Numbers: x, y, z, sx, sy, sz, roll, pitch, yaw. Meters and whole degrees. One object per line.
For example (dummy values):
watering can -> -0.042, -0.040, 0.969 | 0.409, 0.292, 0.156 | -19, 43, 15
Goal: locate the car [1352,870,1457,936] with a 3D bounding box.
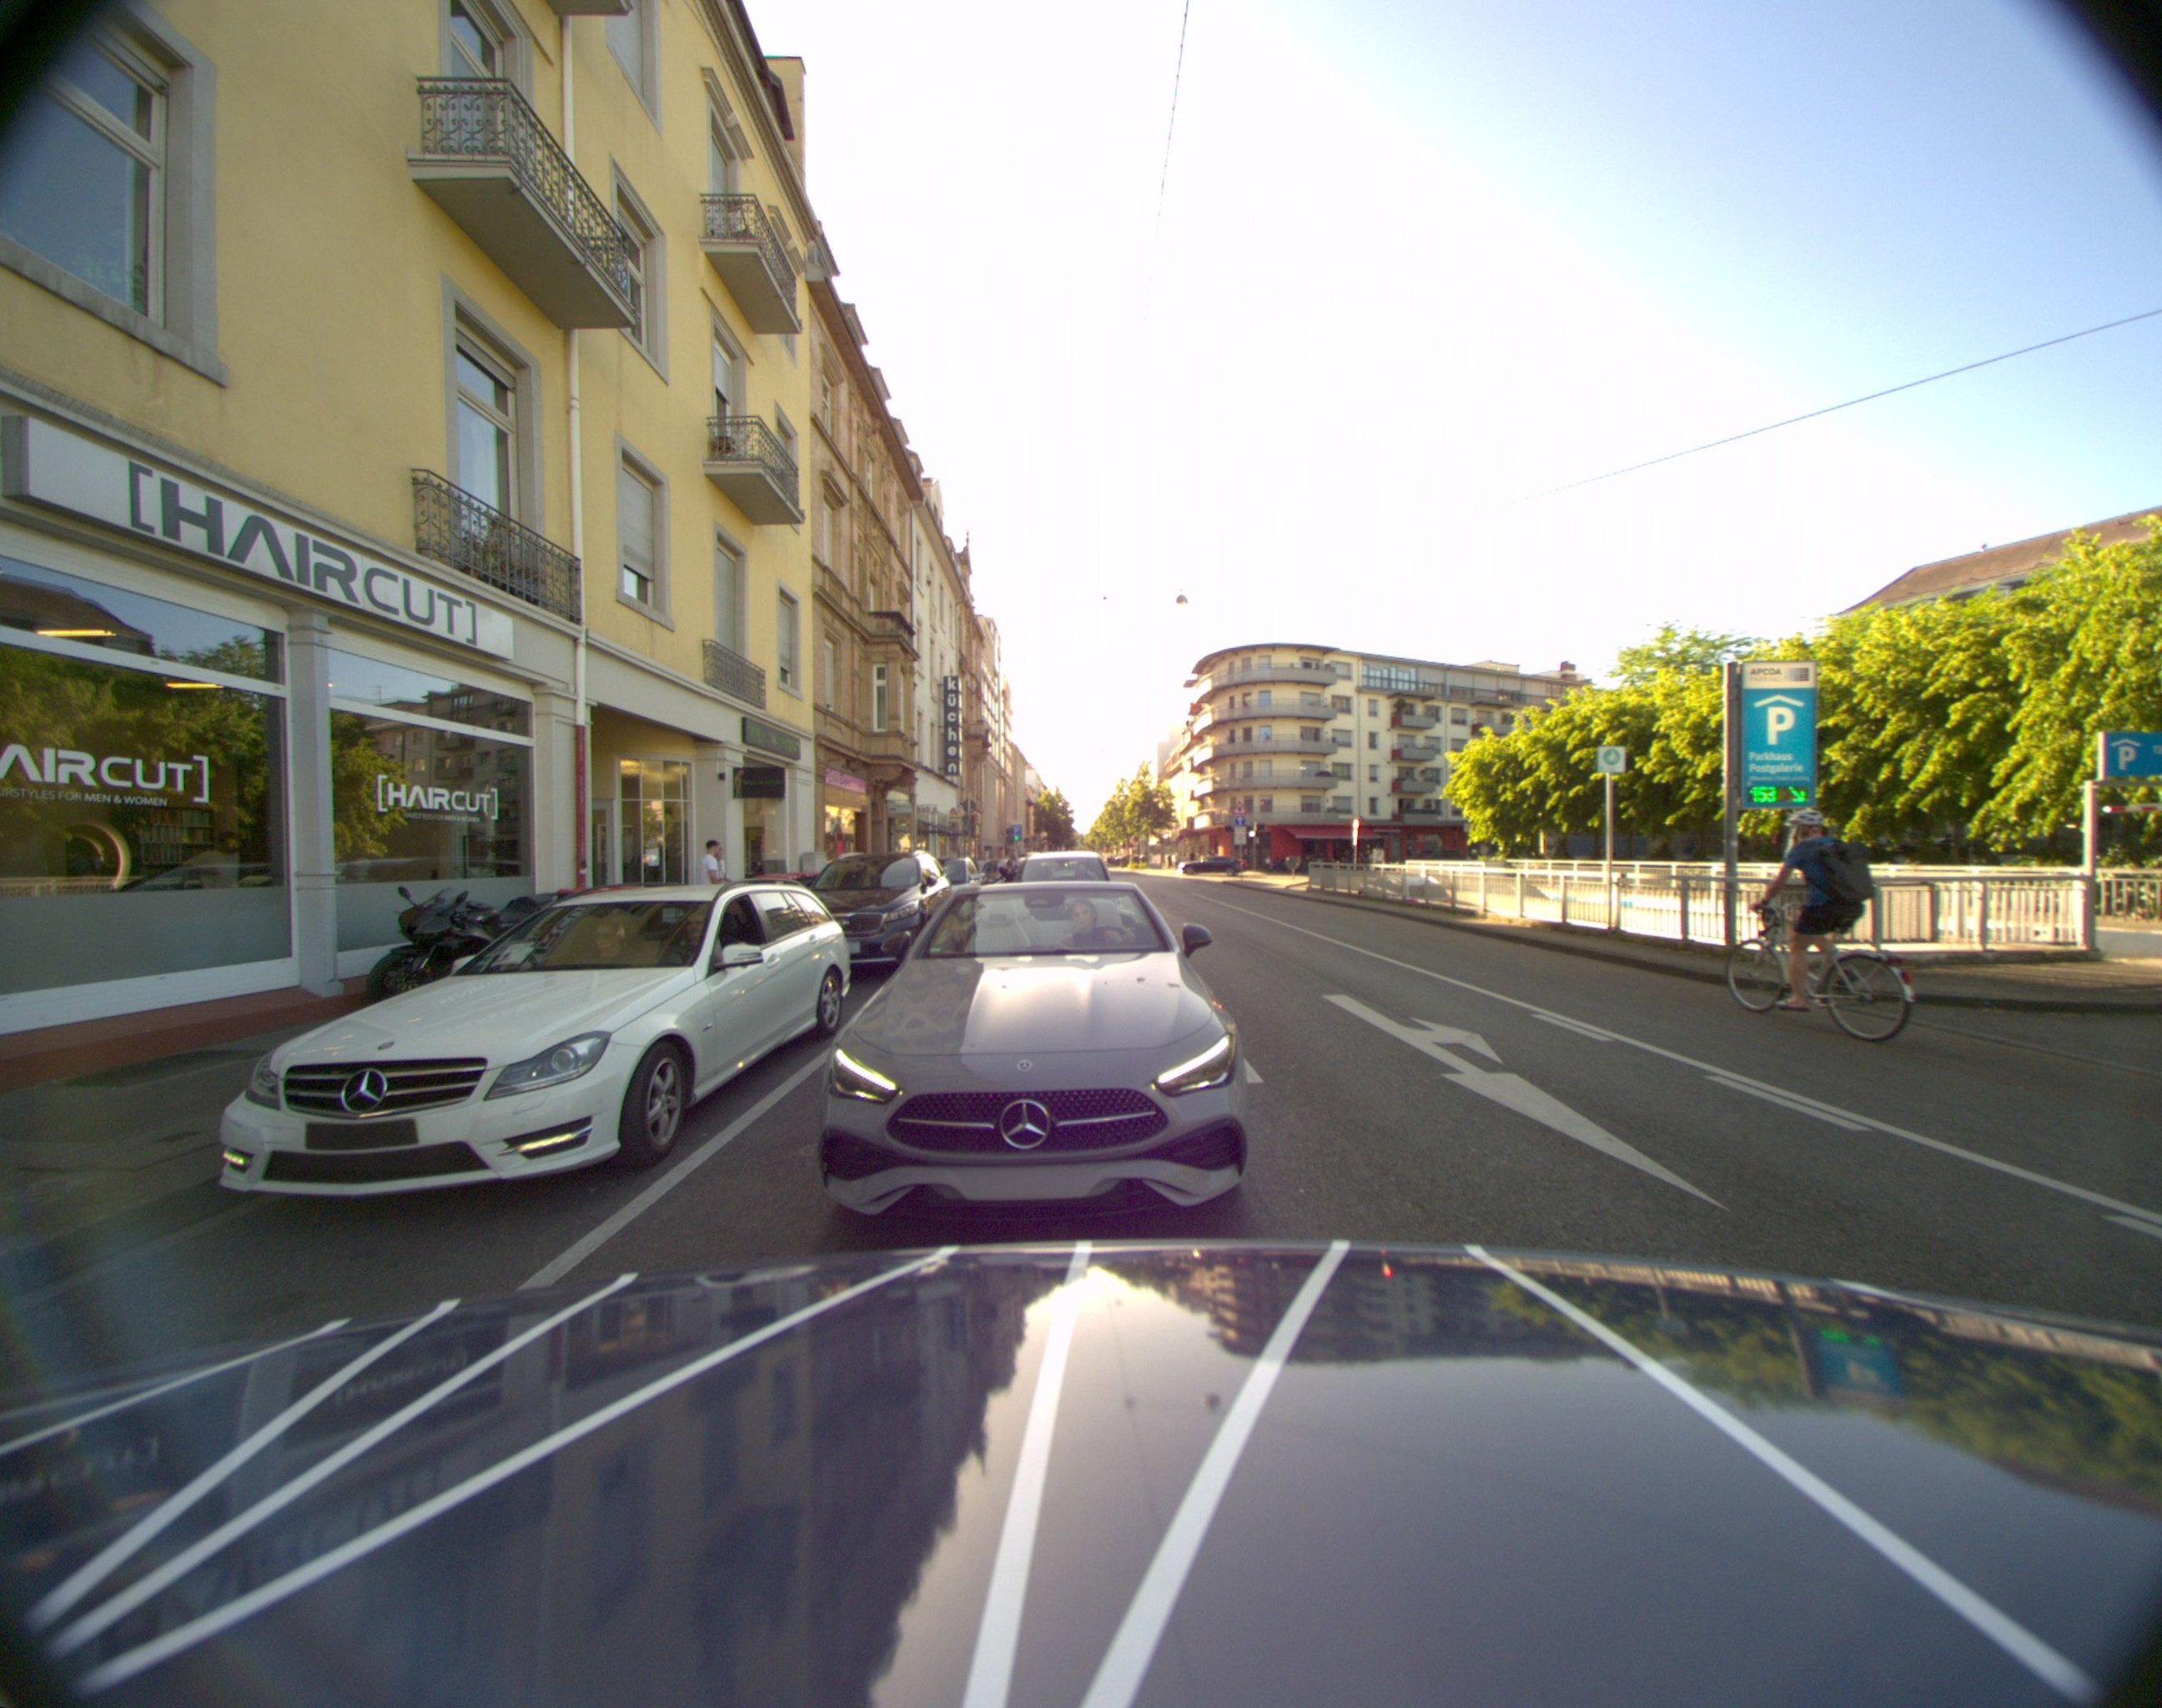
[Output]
car -> 10.322, 1.494, 24.560 | 1.638, 1.523, 3.904 | -2, 5, -2

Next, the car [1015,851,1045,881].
car -> -3.152, 0.716, 47.561 | 1.695, 1.670, 3.880 | -2, 1, -3

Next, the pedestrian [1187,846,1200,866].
pedestrian -> 10.529, 0.180, 70.999 | 0.990, 1.908, 0.790 | -2, 1, -3

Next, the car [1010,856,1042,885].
car -> -2.942, 0.866, 40.963 | 1.461, 1.391, 3.362 | -2, 1, -1

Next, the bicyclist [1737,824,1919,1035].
bicyclist -> 6.417, 0.614, 6.584 | 0.702, 1.700, 0.810 | 2, 1, 2

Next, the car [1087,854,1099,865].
car -> 2.055, 0.907, 133.648 | 1.836, 1.831, 3.886 | 1, 1, -2

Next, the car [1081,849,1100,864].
car -> 0.984, 0.244, 80.434 | 1.695, 1.437, 3.575 | -2, 1, -3

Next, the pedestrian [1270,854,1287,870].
pedestrian -> 15.429, 0.653, 59.394 | 0.937, 1.191, 0.832 | -3, 1, -24

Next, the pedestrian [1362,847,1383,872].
pedestrian -> 20.716, 0.381, 54.027 | 1.269, 1.656, 1.141 | -2, 1, 24

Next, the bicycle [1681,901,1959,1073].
bicycle -> 6.400, 1.077, 6.770 | 0.617, 1.156, 1.958 | 1, 1, 3

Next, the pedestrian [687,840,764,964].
pedestrian -> -5.632, 0.730, 12.050 | 0.975, 1.866, 0.534 | -3, 1, -31

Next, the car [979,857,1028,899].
car -> -3.026, 0.903, 30.326 | 1.695, 1.482, 3.796 | -2, 1, -3

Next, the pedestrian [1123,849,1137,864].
pedestrian -> 6.141, 0.264, 95.142 | 1.224, 1.826, 1.201 | -3, 1, -24

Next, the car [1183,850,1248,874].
car -> 9.287, 0.549, 52.381 | 4.242, 1.521, 1.678 | -2, 1, 14

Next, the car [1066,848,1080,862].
car -> -1.038, 0.136, 94.847 | 1.695, 1.635, 3.599 | -2, 1, -1

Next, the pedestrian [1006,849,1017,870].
pedestrian -> -5.971, 0.486, 65.617 | 0.826, 1.750, 0.823 | -2, 1, -1

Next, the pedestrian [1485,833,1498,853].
pedestrian -> 38.360, -0.998, 71.004 | 0.747, 1.832, 0.684 | -2, 1, 1

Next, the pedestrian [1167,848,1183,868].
pedestrian -> 8.235, 0.361, 66.699 | 1.069, 1.709, 1.080 | -2, 1, -7

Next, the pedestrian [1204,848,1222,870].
pedestrian -> 10.866, 0.425, 62.452 | 1.063, 1.739, 0.960 | -3, 1, -30

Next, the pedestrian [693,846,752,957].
pedestrian -> -6.148, 0.796, 13.074 | 0.630, 1.826, 0.770 | -2, 1, -7

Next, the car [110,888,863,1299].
car -> -3.026, 1.074, 5.260 | 1.672, 1.364, 4.377 | -2, 1, 1

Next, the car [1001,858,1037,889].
car -> -2.954, 0.901, 36.695 | 1.461, 1.310, 3.363 | -2, 1, -1

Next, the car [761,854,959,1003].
car -> -3.013, 0.891, 11.352 | 1.806, 1.680, 4.408 | -2, 1, -3

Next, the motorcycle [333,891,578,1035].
motorcycle -> -6.255, 1.025, 7.802 | 0.735, 1.124, 2.109 | 2, 1, 1

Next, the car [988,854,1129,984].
car -> -0.365, 0.895, 12.771 | 1.866, 1.658, 4.706 | -2, 1, -2

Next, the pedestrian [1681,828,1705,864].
pedestrian -> 31.783, -0.431, 39.464 | 0.748, 1.832, 0.683 | -3, 1, -21

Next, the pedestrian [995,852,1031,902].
pedestrian -> -2.383, 0.796, 26.538 | 0.835, 1.709, 0.821 | -1, 1, 40

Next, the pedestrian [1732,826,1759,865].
pedestrian -> 32.279, -0.395, 36.910 | 0.748, 1.852, 0.683 | -2, 1, -13

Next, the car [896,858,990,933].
car -> -3.181, 0.907, 18.003 | 1.583, 1.514, 2.998 | -2, 1, 1

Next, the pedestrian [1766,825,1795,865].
pedestrian -> 33.536, -0.428, 36.428 | 0.748, 1.832, 0.683 | -2, 1, -13

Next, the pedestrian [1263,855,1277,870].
pedestrian -> 14.923, 0.665, 60.052 | 0.780, 1.191, 0.884 | -2, 1, -10

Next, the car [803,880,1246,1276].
car -> -0.281, 0.999, 5.372 | 1.769, 1.360, 4.471 | -2, 1, -2
